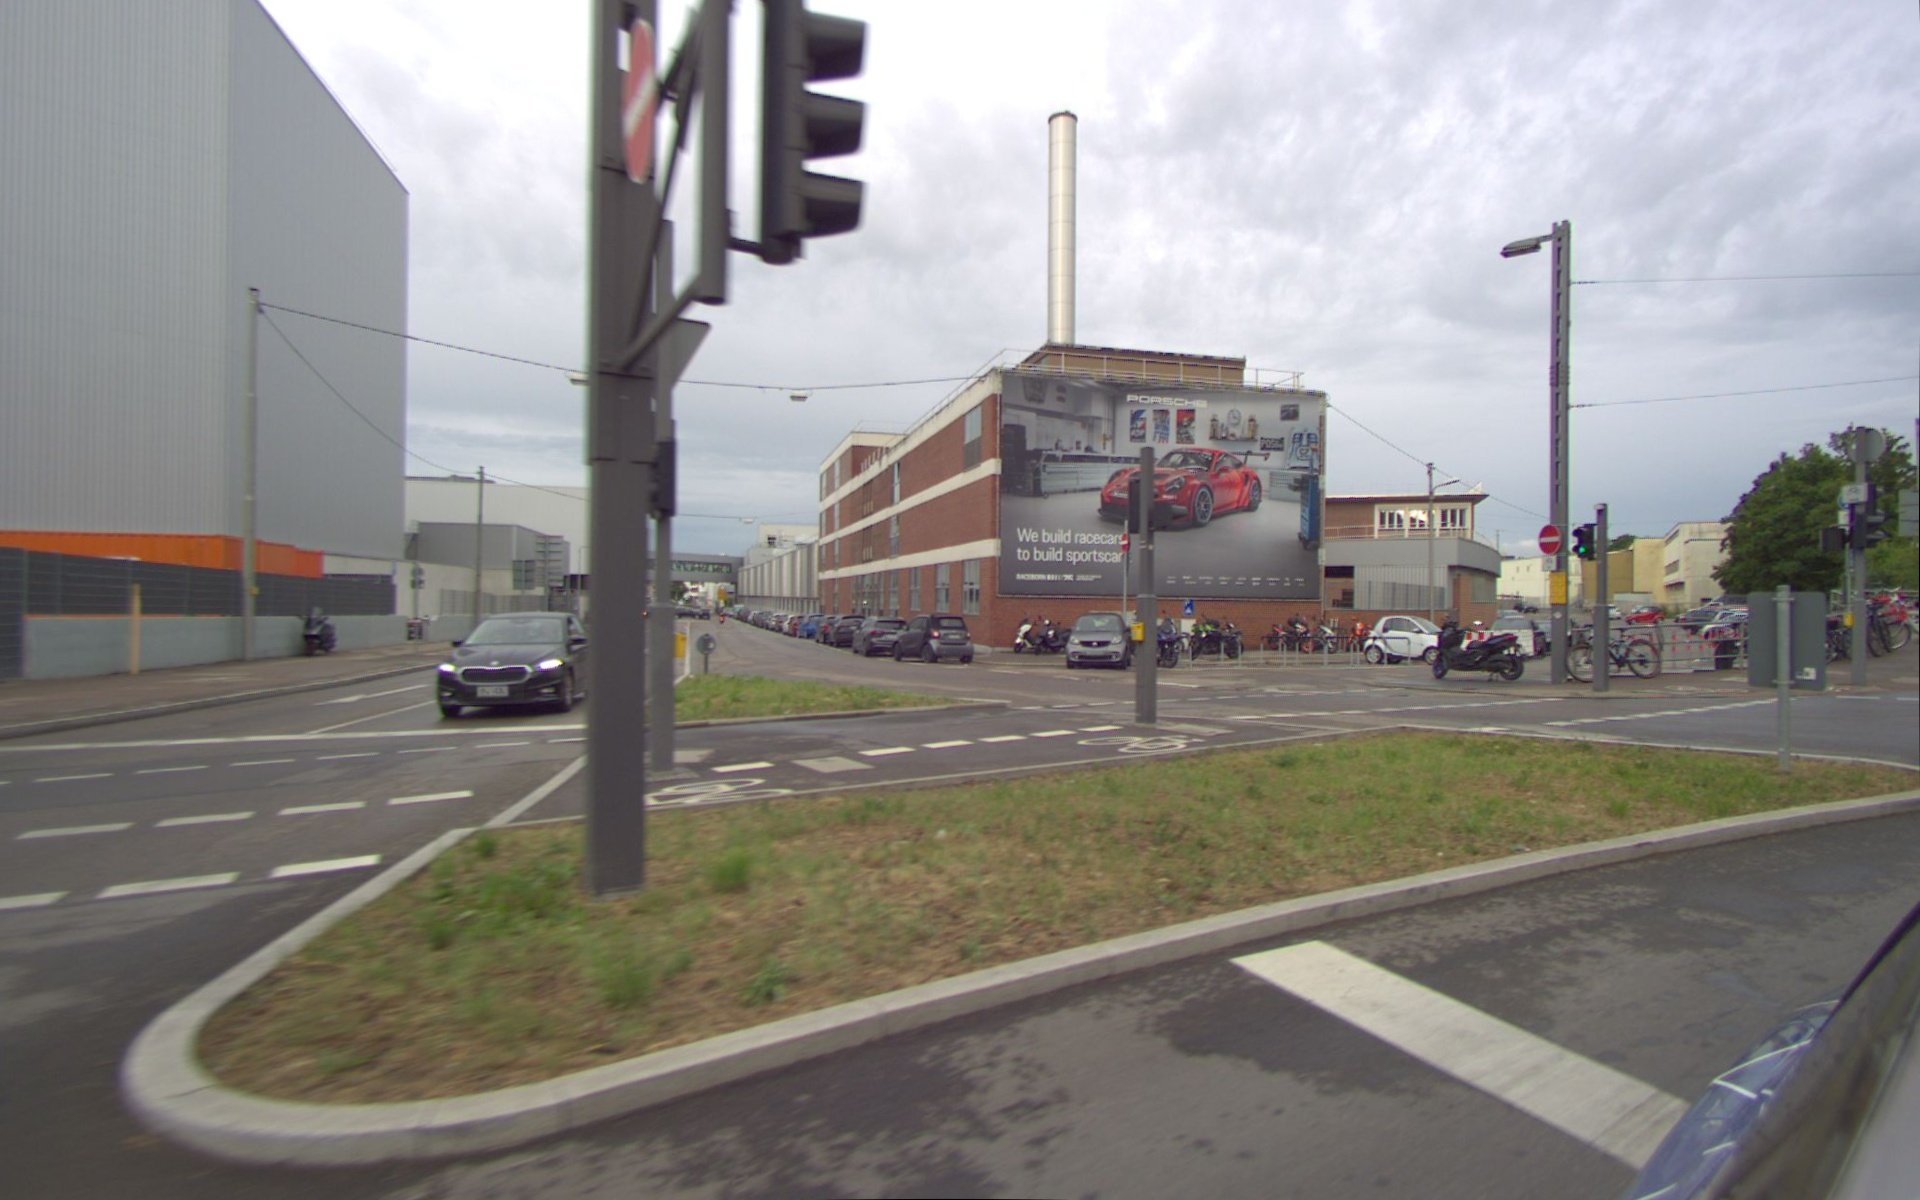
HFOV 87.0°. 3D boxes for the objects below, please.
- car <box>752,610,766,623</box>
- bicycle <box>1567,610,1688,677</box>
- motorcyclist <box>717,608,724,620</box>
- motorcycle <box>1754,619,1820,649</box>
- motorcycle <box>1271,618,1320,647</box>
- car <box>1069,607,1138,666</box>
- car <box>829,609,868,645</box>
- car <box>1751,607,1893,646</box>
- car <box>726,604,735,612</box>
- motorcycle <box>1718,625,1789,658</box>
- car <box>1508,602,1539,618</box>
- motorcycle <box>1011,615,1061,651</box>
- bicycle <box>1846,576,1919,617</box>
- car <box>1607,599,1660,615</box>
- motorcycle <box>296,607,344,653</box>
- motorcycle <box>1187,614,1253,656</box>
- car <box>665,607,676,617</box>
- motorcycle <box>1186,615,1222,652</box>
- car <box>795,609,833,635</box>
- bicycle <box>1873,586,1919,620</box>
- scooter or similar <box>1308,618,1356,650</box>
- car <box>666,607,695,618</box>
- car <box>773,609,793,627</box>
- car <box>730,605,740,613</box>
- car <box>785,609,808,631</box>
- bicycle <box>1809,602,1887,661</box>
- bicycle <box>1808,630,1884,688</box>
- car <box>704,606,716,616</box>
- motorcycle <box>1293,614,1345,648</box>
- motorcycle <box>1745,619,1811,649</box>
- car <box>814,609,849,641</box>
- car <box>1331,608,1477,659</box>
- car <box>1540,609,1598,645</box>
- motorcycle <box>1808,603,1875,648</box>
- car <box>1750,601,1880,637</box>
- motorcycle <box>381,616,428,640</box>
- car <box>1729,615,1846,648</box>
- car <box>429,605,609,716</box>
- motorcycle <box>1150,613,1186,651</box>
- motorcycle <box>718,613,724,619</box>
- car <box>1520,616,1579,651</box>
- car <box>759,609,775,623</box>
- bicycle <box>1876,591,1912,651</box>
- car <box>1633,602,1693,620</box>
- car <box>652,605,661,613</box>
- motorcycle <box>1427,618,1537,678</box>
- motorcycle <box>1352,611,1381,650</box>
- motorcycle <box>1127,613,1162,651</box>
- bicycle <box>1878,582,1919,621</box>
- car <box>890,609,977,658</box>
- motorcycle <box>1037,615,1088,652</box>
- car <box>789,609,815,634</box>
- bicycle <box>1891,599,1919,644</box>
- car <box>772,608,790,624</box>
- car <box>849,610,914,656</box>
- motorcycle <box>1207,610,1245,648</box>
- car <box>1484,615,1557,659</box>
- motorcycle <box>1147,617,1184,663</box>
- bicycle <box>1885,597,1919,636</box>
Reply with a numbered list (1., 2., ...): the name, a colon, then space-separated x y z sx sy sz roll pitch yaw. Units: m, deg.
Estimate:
1. car: -22.544 1.811 113.316 1.429 1.256 3.377 -3 1 -12
2. bicycle: 12.632 0.818 19.169 2.032 1.144 0.422 -3 0 -4
3. motorcyclist: -28.360 1.628 119.898 0.720 1.391 1.021 -2 0 -12
4. motorcycle: 27.620 1.141 33.821 1.599 0.933 0.418 -2 0 25
5. motorcycle: 11.978 1.160 36.159 0.531 0.985 1.616 -3 1 -35
6. car: 4.093 0.977 28.553 1.601 1.523 3.233 -1 0 14
7. car: -5.172 1.200 46.637 1.429 1.461 3.471 -3 1 -12
8. car: 34.247 1.007 40.291 1.688 1.444 3.998 -1 0 -36
9. car: -39.286 1.376 173.080 1.429 1.256 3.377 -3 1 -12
10. motorcycle: 23.934 1.261 30.550 1.604 0.933 0.477 -2 0 32
11. car: 51.789 0.895 93.116 1.698 1.444 3.976 -1 0 18
12. motorcycle: 2.634 1.136 35.009 1.615 1.125 0.545 -3 0 -7
13. bicycle: 27.599 -0.115 30.314 1.535 1.169 0.446 2 3 35
14. car: 65.397 0.682 98.321 3.958 1.444 1.706 -1 0 26
15. motorcycle: -20.192 0.923 31.976 0.642 1.395 2.105 0 -1 -14
16. motorcycle: 7.750 1.039 30.167 1.826 1.125 0.546 -3 0 -15
17. car: -45.302 1.825 158.165 1.580 1.579 4.008 -1 0 -15
18. motorcycle: 8.255 1.124 34.288 0.467 1.133 1.812 -2 1 -9
19. car: -8.920 1.315 61.661 1.662 1.461 3.396 -3 1 -19
20. bicycle: 27.528 0.079 29.286 1.673 0.933 0.486 -1 2 4
21. scooter or similar: 13.673 1.241 37.278 0.495 1.110 1.638 -3 1 -35
22. car: -39.442 1.763 142.966 3.916 1.579 1.618 -1 0 -18
23. car: -14.247 1.440 81.393 1.429 1.256 3.377 -3 1 -12
24. car: -35.859 1.448 161.536 1.429 1.256 3.377 -3 1 -12
25. car: -11.723 1.404 72.440 1.429 1.393 3.395 -3 1 -12
26. bicycle: 18.009 0.629 20.517 1.708 1.097 0.348 -2 1 -17
27. bicycle: 18.541 1.218 21.166 1.708 1.097 0.348 -2 1 -17
28. car: -34.993 1.591 141.864 1.429 1.256 3.377 -3 1 -12
29. motorcycle: 13.059 1.107 36.862 0.574 1.166 1.720 -3 1 -35
30. motorcycle: 26.816 1.128 33.209 1.599 0.933 0.418 -2 0 25
31. car: -6.523 1.239 51.323 1.429 1.461 3.395 -3 1 -12
32. car: 14.136 1.017 32.375 1.541 1.508 3.992 0 0 -42
33. car: 30.974 1.318 51.435 1.777 1.688 4.438 -1 0 41
34. motorcycle: 19.666 0.558 22.567 1.709 0.906 0.548 -3 1 -28
35. car: 36.663 0.781 43.476 1.688 1.444 3.998 -1 0 -36
36. motorcycle: -26.679 1.330 48.634 1.887 1.089 0.628 0 0 -20
37. car: 39.412 1.466 48.265 1.688 1.444 3.998 -1 0 -36
38. car: -6.546 0.807 15.457 1.685 1.444 4.007 -1 0 -11
39. motorcycle: 7.035 1.056 34.319 0.533 1.195 1.716 -2 1 -11
40. motorcycle: -28.306 1.863 119.813 0.554 0.678 2.231 -3 1 -12
41. car: 26.943 1.483 46.198 1.712 1.444 3.944 -1 0 39
42. car: -18.770 1.554 98.524 1.429 1.256 3.377 -3 1 -12
43. bicycle: 20.226 0.431 21.905 1.981 1.189 0.400 -3 2 -42
44. car: 59.910 0.962 86.309 3.958 1.444 1.706 -1 0 26
45. car: -60.342 1.803 201.266 1.580 1.579 4.008 -1 0 -15
46. motorcycle: 10.916 0.972 21.231 0.479 1.160 2.097 -3 1 -30
47. motorcycle: 15.365 1.148 38.190 0.521 1.350 1.647 -2 1 39
48. motorcycle: 6.213 1.052 34.141 0.533 1.195 1.651 -2 1 -11
49. bicycle: 27.011 0.045 28.678 1.438 1.086 0.442 0 3 9
50. car: -0.888 1.058 32.608 1.524 1.512 2.751 2 -2 -35
51. motorcycle: 3.419 1.114 33.863 1.570 1.134 0.545 -3 0 -7
52. car: -10.448 1.404 66.685 1.429 1.461 3.395 -3 1 -12
53. bicycle: 21.664 0.475 22.247 0.414 0.973 1.742 -3 2 -42
54. car: -15.477 1.398 87.459 1.429 1.256 3.377 -3 1 -12
55. car: -2.971 1.185 37.699 1.535 1.461 4.114 -3 1 -16
56. motorcycle: 9.189 0.984 35.078 0.533 1.254 1.810 0 0 -11
57. car: 22.659 1.441 40.859 1.880 1.570 4.445 -1 0 38
58. motorcycle: 5.722 1.096 28.235 0.485 1.160 1.725 -2 1 -6
59. bicycle: 23.312 0.406 24.270 0.414 0.933 1.615 -1 1 -39
